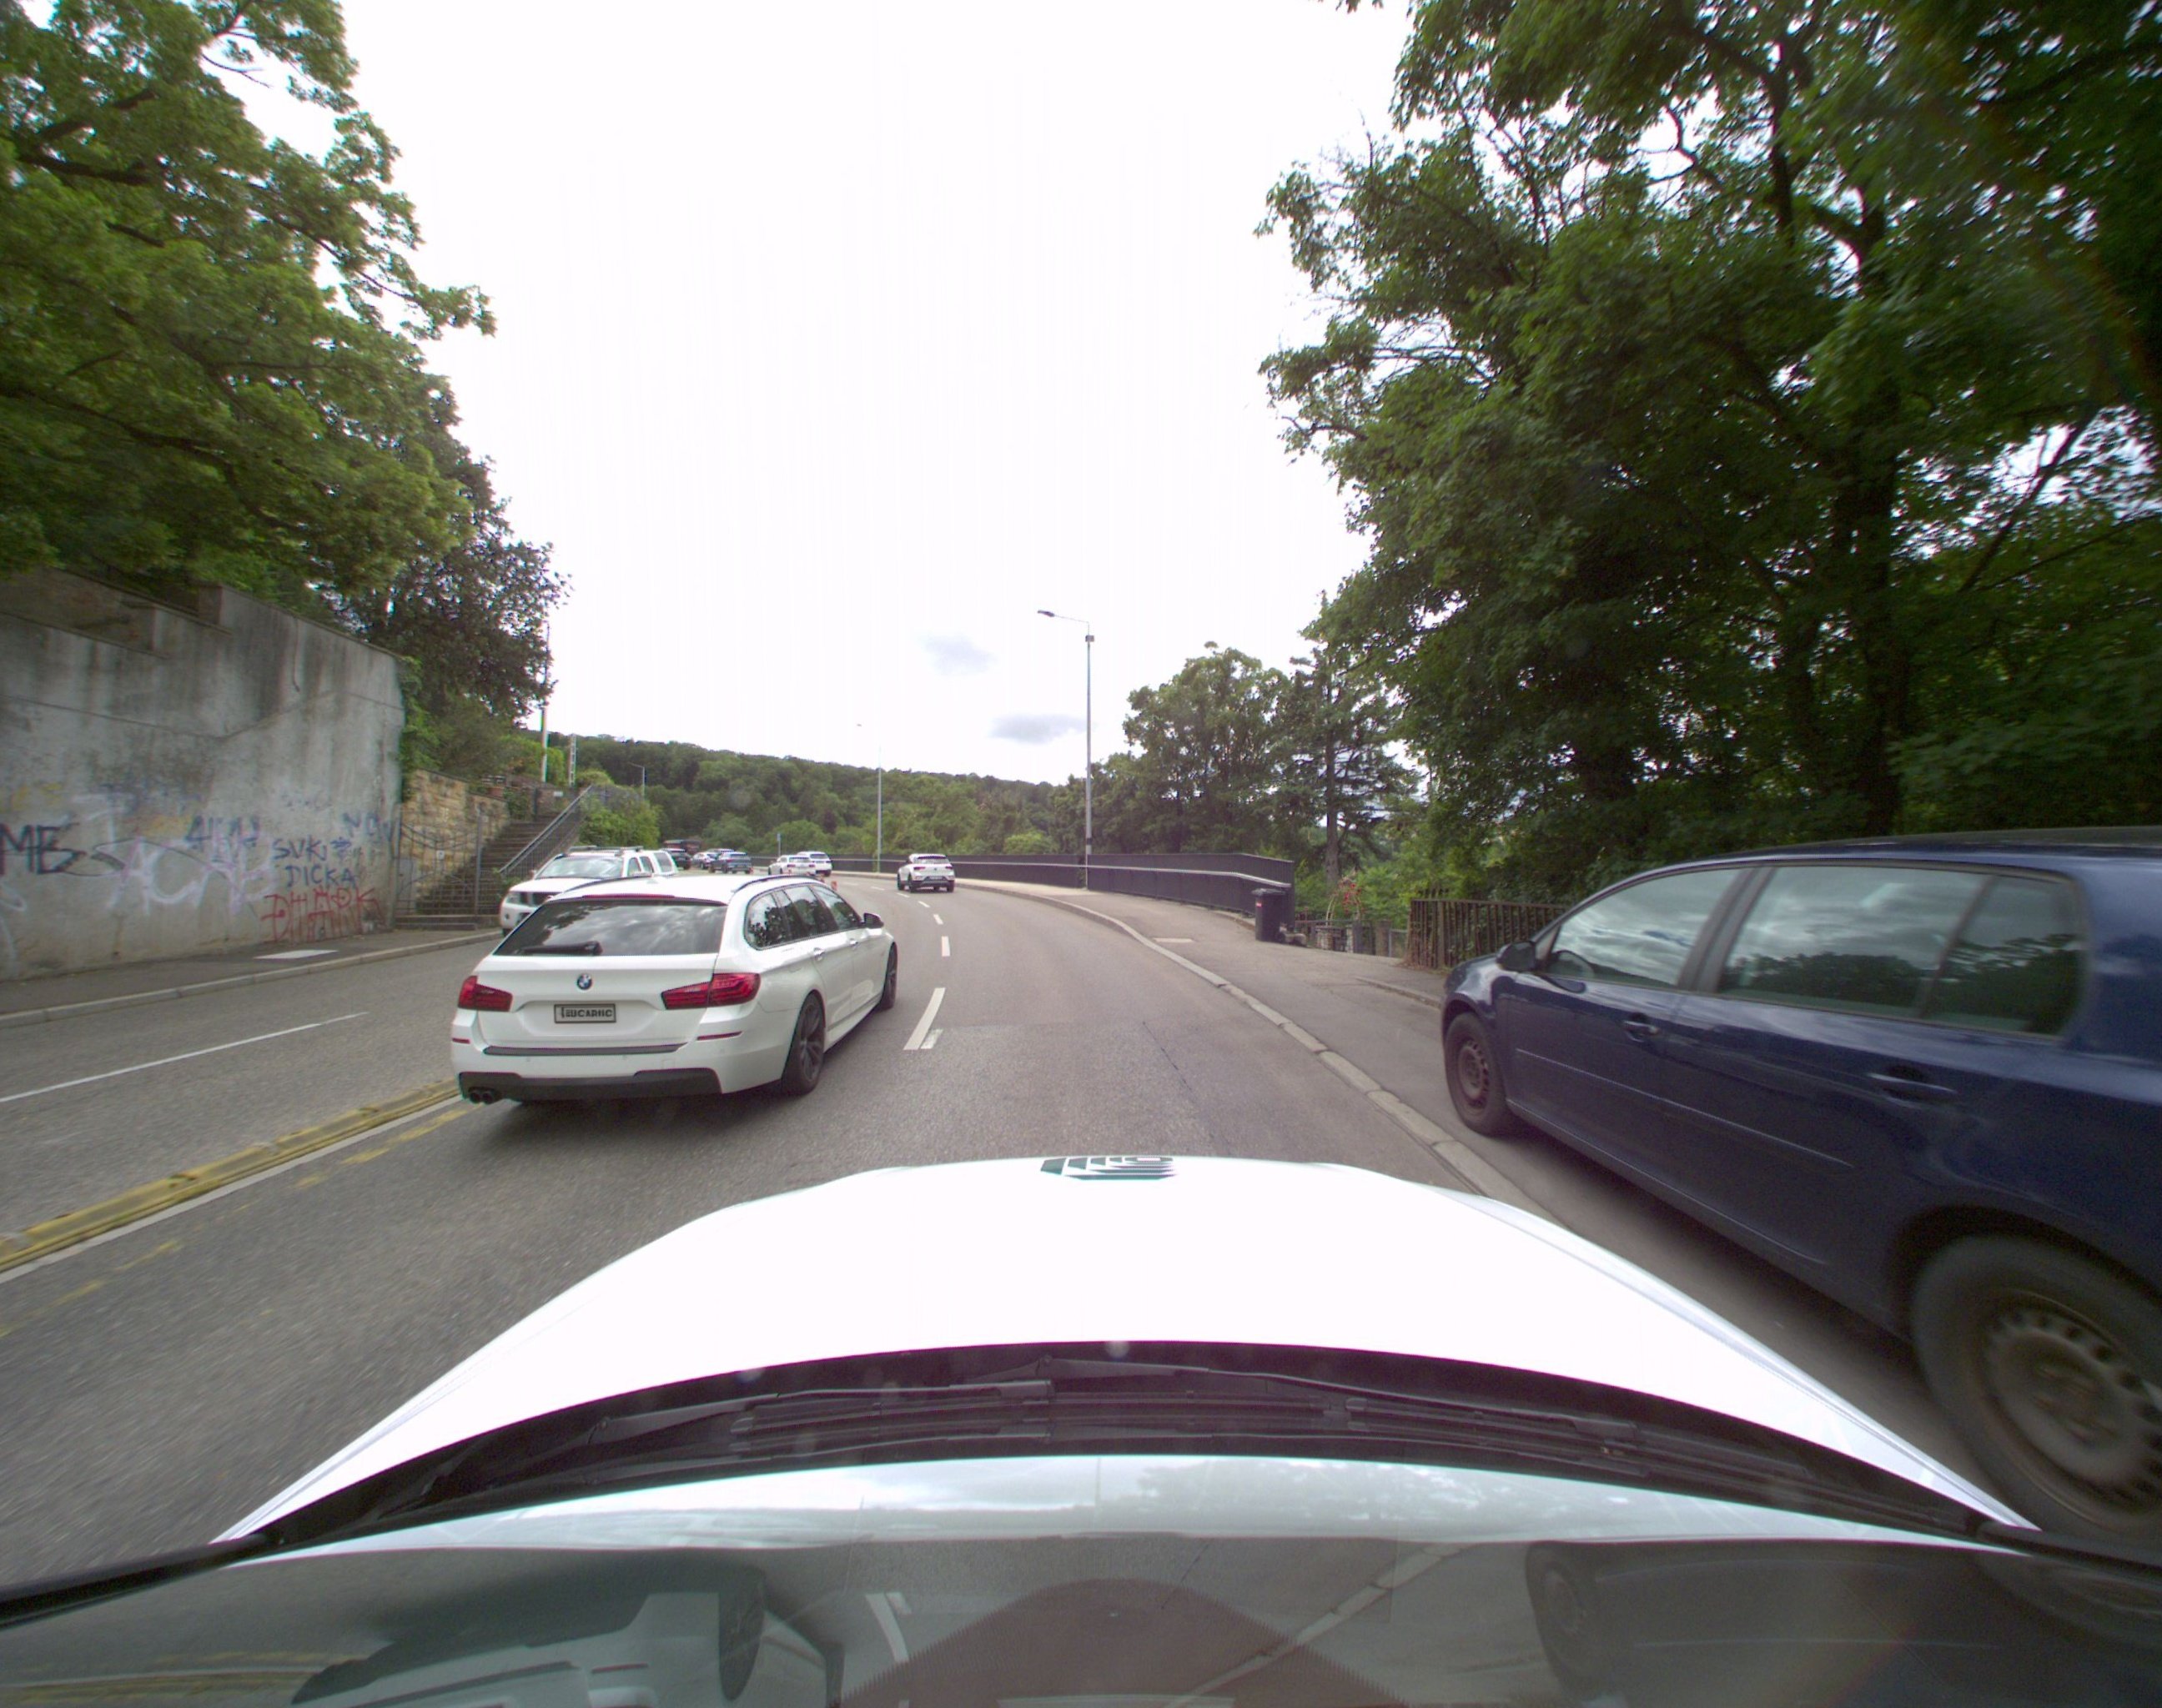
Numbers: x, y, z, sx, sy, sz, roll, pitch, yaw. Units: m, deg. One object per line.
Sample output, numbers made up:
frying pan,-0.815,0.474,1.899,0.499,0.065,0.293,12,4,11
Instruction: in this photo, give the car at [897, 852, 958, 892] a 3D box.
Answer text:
car,-6.448,0.721,33.932,1.874,1.536,3.776,0,0,-21

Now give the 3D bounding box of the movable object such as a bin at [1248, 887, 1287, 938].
movable object such as a bin,3.355,1.044,14.701,0.520,0.881,0.530,1,0,-9

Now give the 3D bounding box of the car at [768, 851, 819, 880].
car,-16.834,0.667,47.638,1.920,1.574,3.959,1,0,-33

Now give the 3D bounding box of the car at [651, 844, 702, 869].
car,-38.144,0.208,76.834,4.672,2.193,2.095,1,0,31

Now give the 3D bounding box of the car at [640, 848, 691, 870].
car,-33.489,0.402,65.655,3.949,1.689,1.833,1,0,31

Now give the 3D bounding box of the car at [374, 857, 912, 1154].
car,-2.750,0.798,6.638,1.843,1.467,4.875,1,0,-2

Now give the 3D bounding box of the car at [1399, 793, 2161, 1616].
car,2.784,0.627,3.020,1.654,1.487,4.034,0,0,0

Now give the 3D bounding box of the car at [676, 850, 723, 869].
car,-31.583,0.457,67.330,3.492,1.525,1.710,1,0,27

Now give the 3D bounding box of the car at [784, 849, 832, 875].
car,-18.127,0.517,53.976,2.008,1.586,3.958,1,0,-34

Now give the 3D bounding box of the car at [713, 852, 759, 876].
car,-24.293,0.684,57.257,2.009,1.541,3.965,1,0,-37

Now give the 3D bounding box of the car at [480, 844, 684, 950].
car,-10.069,0.734,17.013,1.912,1.828,5.285,-1,0,-12
